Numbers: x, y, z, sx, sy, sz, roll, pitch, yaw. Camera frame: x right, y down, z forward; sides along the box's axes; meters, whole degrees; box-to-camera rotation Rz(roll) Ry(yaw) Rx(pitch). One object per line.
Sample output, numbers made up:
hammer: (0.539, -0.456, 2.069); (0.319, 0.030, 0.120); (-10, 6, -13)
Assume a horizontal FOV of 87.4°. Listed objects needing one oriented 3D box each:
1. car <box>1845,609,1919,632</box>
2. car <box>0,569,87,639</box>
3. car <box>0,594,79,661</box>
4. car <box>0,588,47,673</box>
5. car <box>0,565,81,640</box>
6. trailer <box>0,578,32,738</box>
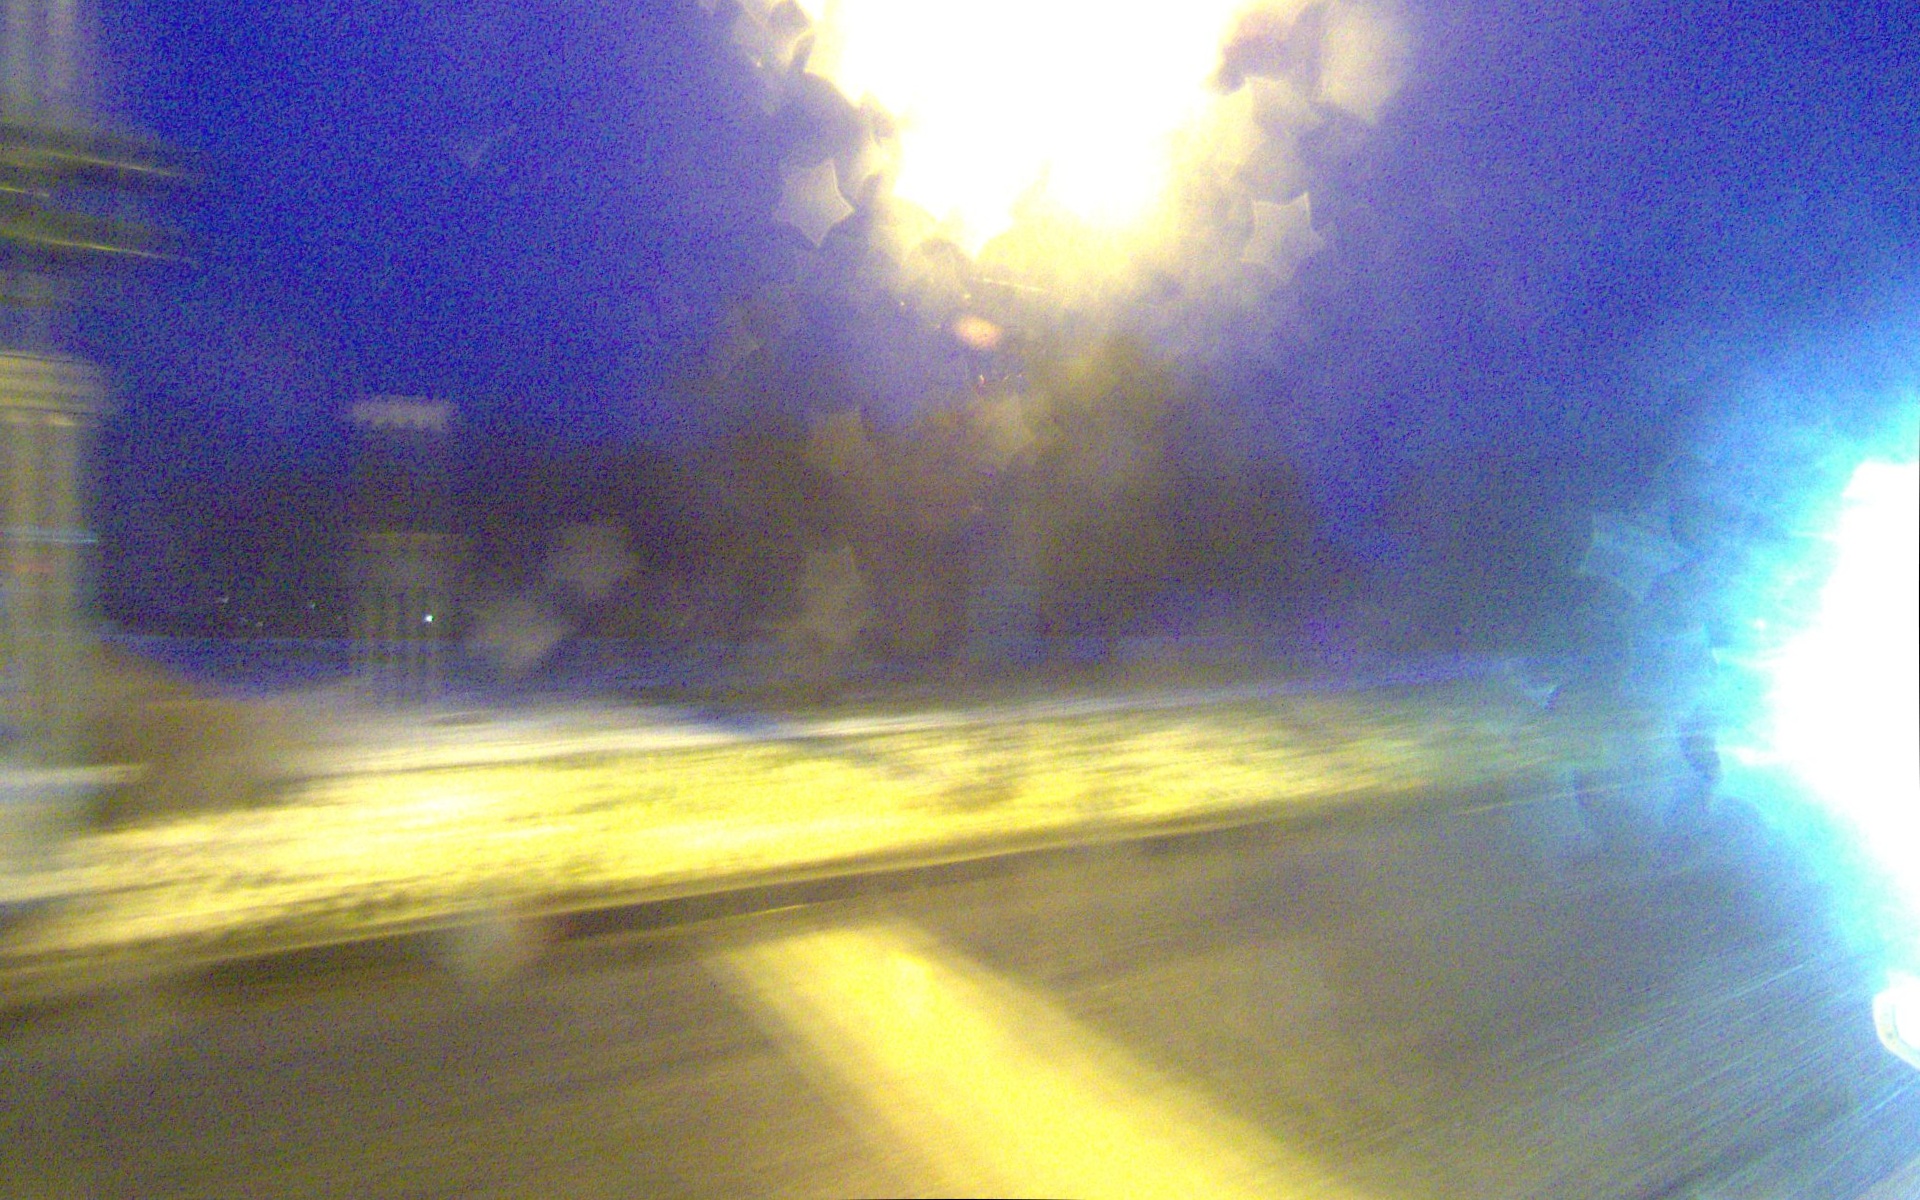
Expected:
car: (76.364, 1.688, 82.906); (4.854, 1.758, 1.990); (0, 0, 40)
car: (-30.605, 0.085, 32.054); (3.974, 2.082, 1.741); (5, 0, -44)
car: (-27.486, 0.694, 27.753); (4.593, 1.719, 1.919); (5, 0, -41)
car: (-22.383, 0.534, 21.105); (4.593, 1.719, 1.919); (5, 0, -41)
car: (-29.110, 0.006, 30.114); (3.974, 2.082, 1.974); (5, 0, -44)
trailer: (-12.236, 0.590, 10.064); (4.061, 1.699, 1.801); (2, -3, -36)
